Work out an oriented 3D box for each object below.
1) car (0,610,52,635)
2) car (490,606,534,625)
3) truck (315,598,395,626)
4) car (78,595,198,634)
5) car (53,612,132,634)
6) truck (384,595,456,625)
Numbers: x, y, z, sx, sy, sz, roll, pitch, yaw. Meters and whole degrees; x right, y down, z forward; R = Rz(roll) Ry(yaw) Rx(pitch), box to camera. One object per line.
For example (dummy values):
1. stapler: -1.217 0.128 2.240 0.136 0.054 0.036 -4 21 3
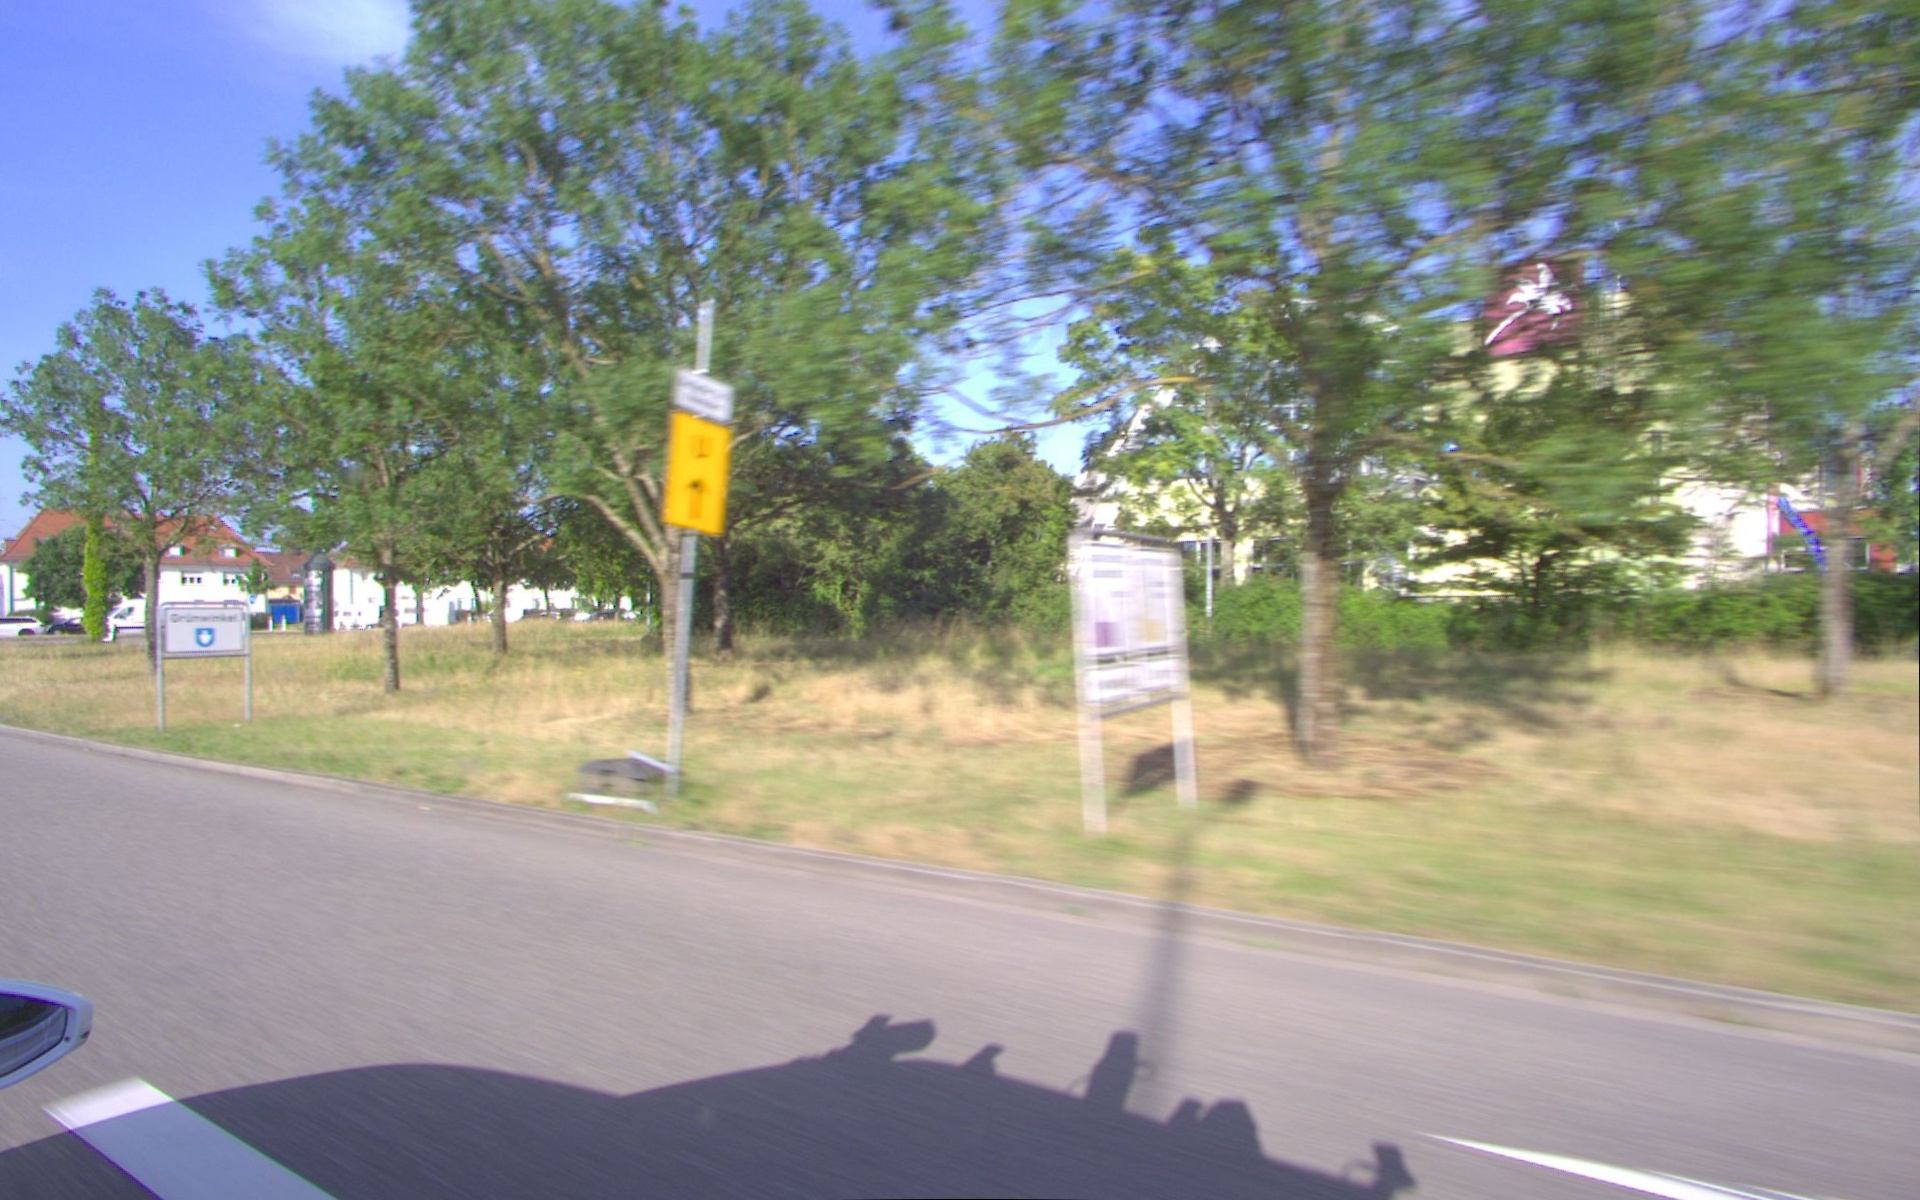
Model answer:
1. car: -61.544 1.428 63.957 1.818 1.583 5.072 0 0 40
2. car: -47.953 1.627 107.200 3.834 1.945 1.895 -1 0 -7
3. truck: -56.932 1.120 94.275 6.234 2.557 2.277 0 0 4
4. car: -57.080 0.973 69.685 1.976 2.617 6.181 0 0 39
5. car: -60.851 1.590 70.251 1.695 1.472 3.969 0 0 40
6. truck: -53.527 0.944 99.358 5.962 2.892 1.895 -1 0 -7
